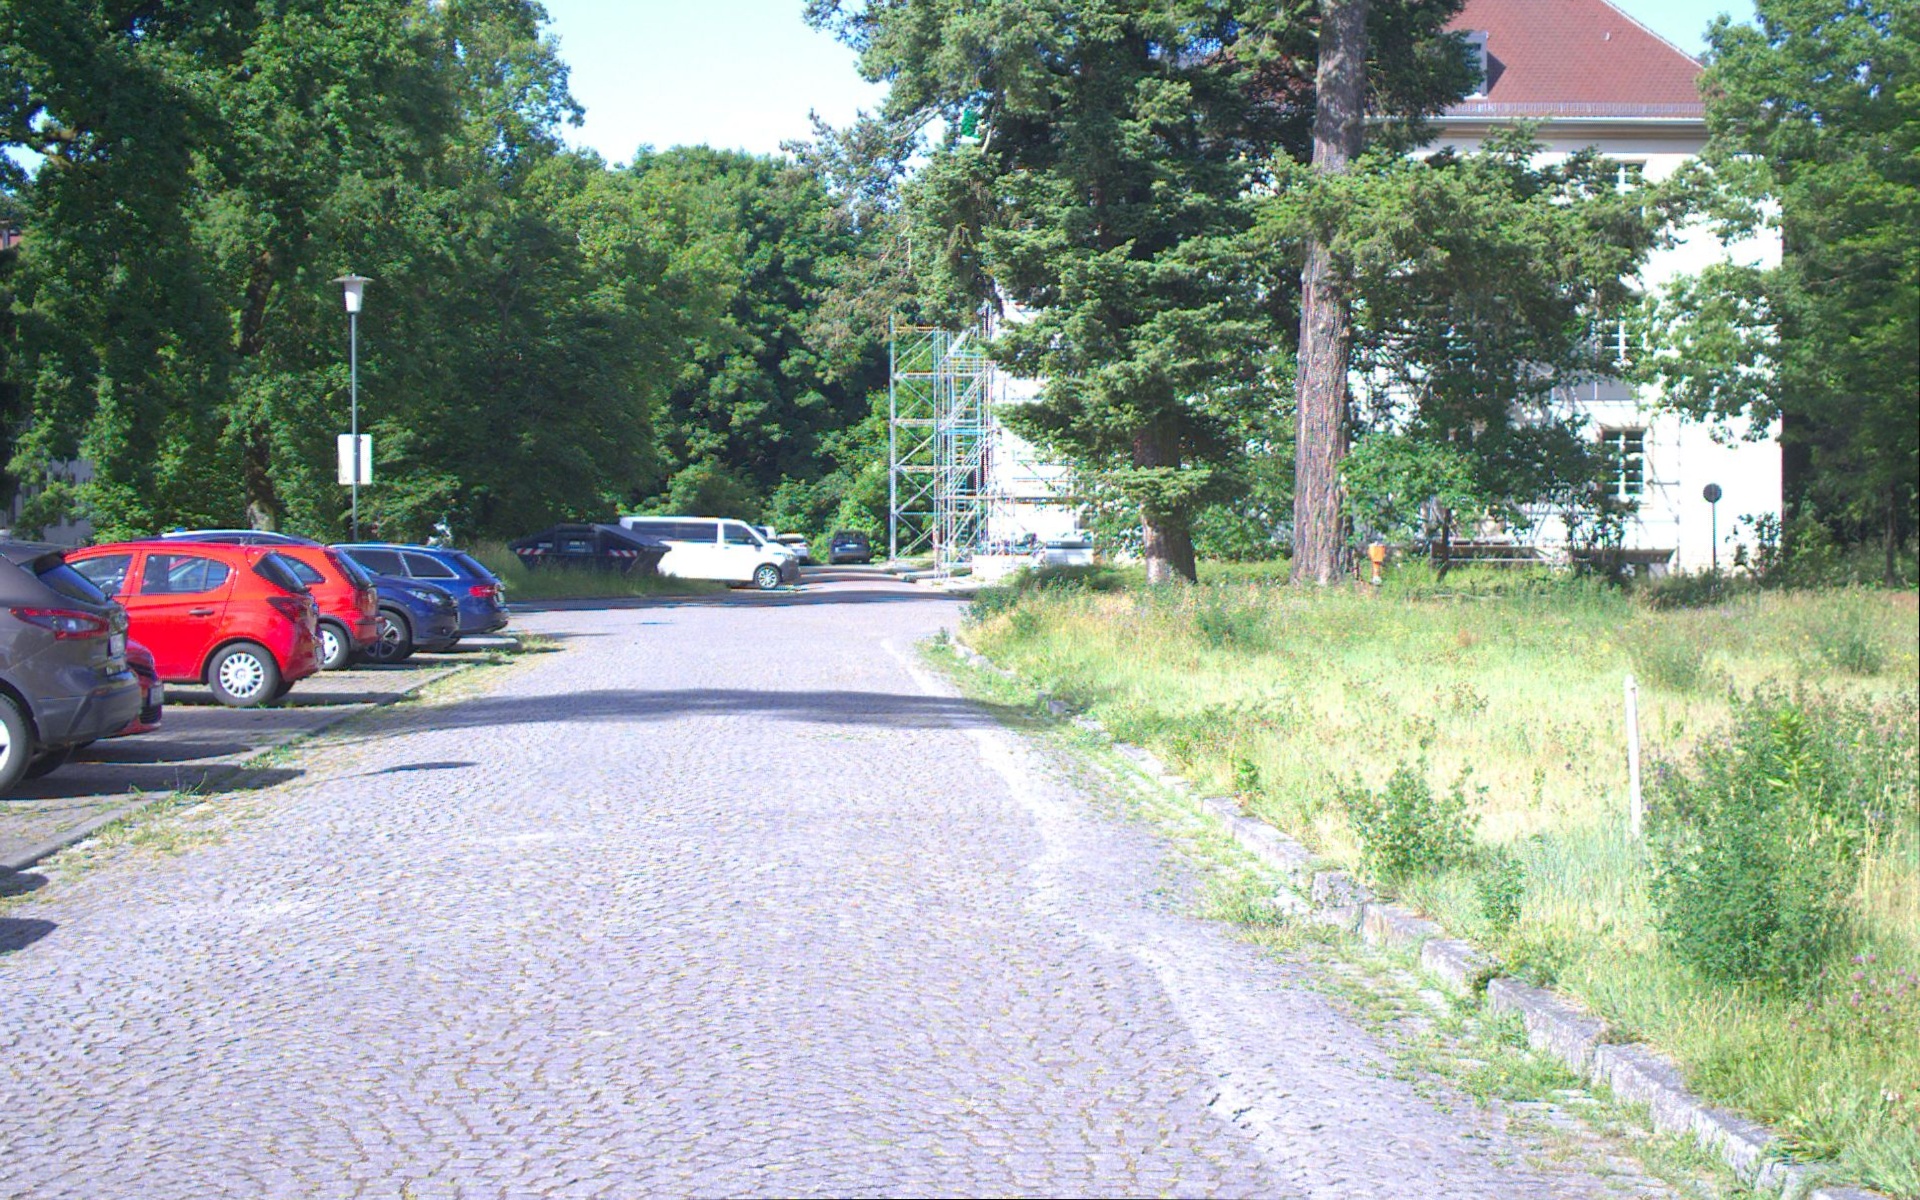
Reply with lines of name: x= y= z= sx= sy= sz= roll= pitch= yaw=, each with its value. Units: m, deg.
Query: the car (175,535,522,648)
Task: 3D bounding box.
car: x=-8.250 y=-0.134 z=46.654 sx=4.359 sy=1.440 sz=1.921 roll=1 pitch=2 yaw=0

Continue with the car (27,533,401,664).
car: x=-8.537 y=-0.034 z=39.575 sx=3.923 sy=1.428 sz=1.842 roll=1 pitch=2 yaw=-1

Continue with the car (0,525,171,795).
car: x=-7.080 y=0.302 z=21.388 sx=3.952 sy=1.562 sz=1.974 roll=1 pitch=2 yaw=-4

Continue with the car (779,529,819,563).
car: x=-7.583 y=-2.556 z=161.679 sx=1.812 sy=1.574 sz=4.135 roll=-1 pitch=1 yaw=-3

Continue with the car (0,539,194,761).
car: x=-7.514 y=0.292 z=24.104 sx=3.922 sy=1.444 sz=1.867 roll=1 pitch=2 yaw=-4

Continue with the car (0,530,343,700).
car: x=-7.774 y=0.115 z=31.694 sx=3.922 sy=1.456 sz=1.842 roll=1 pitch=2 yaw=-4

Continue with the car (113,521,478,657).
car: x=-8.061 y=-0.153 z=41.972 sx=4.134 sy=1.574 sz=1.885 roll=1 pitch=2 yaw=-3

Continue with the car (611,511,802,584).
car: x=-7.031 y=-1.461 z=95.627 sx=5.234 sy=2.009 sz=1.950 roll=0 pitch=1 yaw=-3

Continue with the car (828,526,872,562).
car: x=-5.196 y=-2.631 z=162.084 sx=1.970 sy=1.662 sz=4.087 roll=-1 pitch=1 yaw=-3

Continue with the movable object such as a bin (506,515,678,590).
movable object such as a bin: x=-8.813 y=-1.138 z=82.441 sx=3.568 sy=1.738 sz=2.023 roll=0 pitch=1 yaw=16
